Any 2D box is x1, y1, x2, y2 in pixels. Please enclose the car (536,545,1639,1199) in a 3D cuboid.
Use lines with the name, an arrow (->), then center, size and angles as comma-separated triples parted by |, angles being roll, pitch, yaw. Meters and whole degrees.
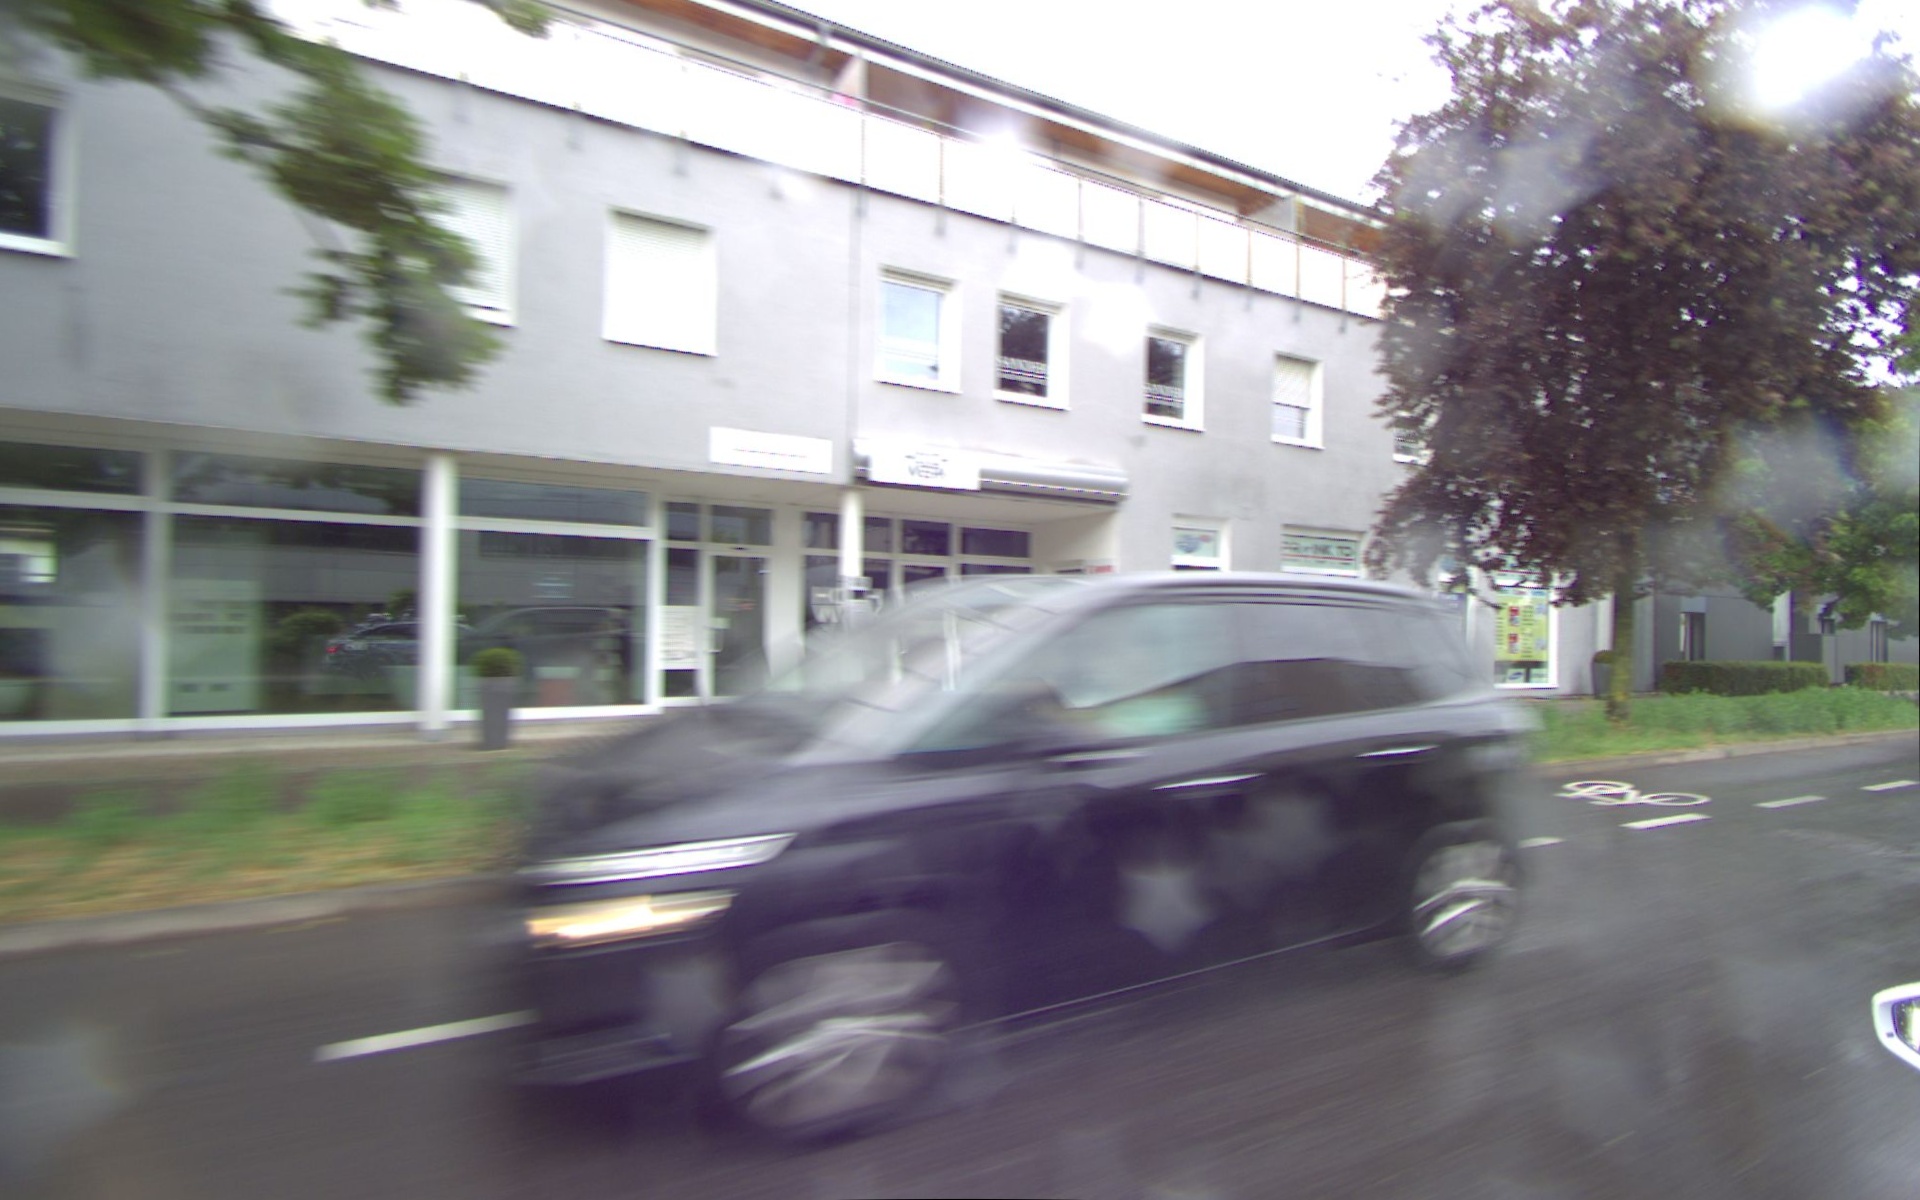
car -> 0.706, 0.674, 4.258 | 4.448, 1.575, 1.842 | 0, 0, -30

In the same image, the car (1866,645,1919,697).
car -> 40.789, 2.986, 41.644 | 2.129, 2.040, 4.374 | 0, 0, -31
